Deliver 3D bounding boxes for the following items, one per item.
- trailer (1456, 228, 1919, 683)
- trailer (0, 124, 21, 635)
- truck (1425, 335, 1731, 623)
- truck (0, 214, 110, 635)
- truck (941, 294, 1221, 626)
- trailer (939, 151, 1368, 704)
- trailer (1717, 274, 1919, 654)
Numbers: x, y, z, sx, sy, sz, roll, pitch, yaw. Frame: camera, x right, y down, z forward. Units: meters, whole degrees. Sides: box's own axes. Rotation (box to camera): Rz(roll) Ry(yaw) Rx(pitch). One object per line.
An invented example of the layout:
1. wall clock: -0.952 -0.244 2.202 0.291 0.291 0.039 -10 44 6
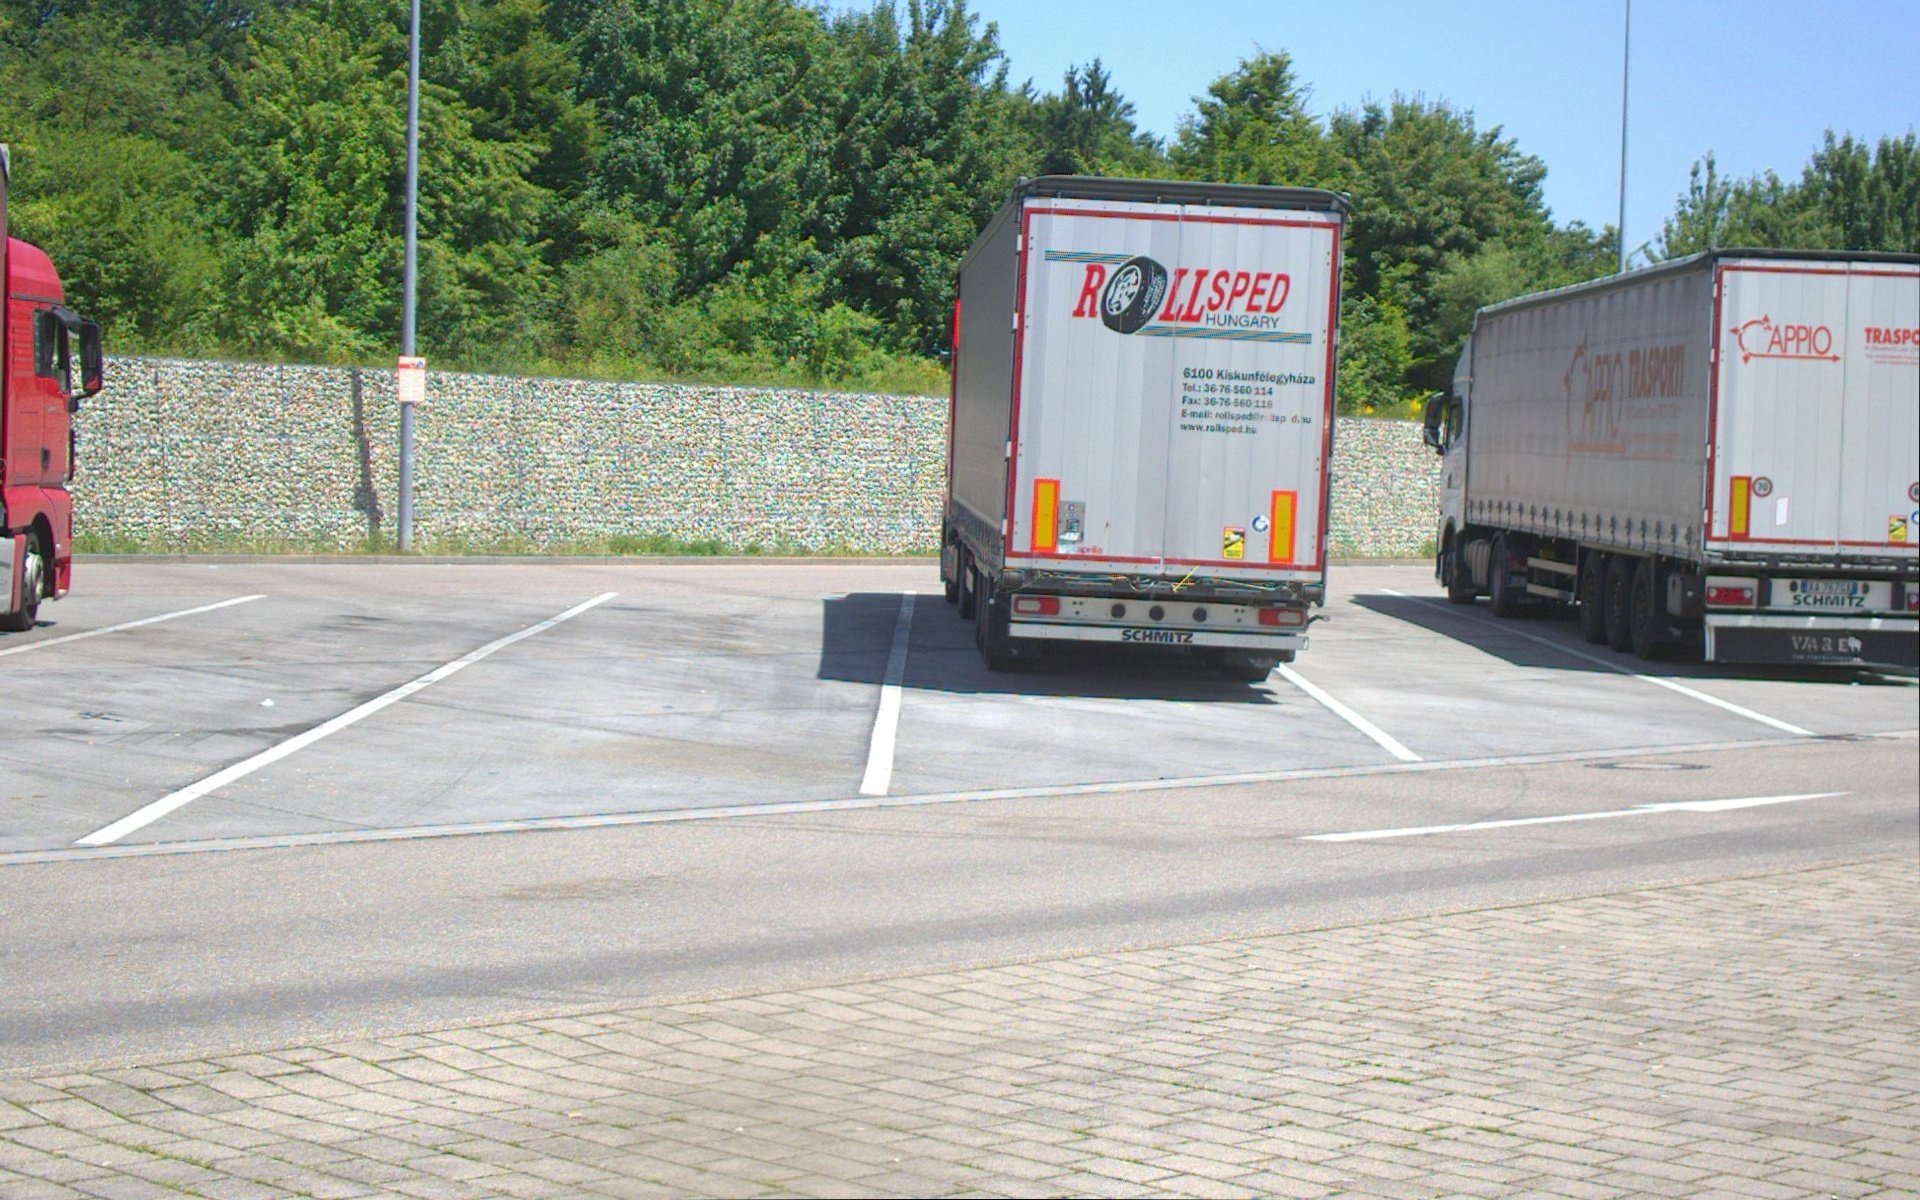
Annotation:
1. trailer: 8.154 -1.627 38.700 2.838 4.118 13.724 2 3 -1
2. trailer: -9.149 -1.490 21.314 2.906 4.118 13.725 2 3 -1
3. truck: 8.061 -1.625 45.513 2.852 3.472 5.483 2 2 -1
4. truck: -9.239 -1.506 28.753 2.852 3.416 5.483 2 2 -1
5. truck: 1.289 -1.629 39.823 2.852 3.472 5.483 2 2 -1
6. trailer: 1.437 -1.622 33.210 2.906 4.118 13.725 2 3 -1
7. trailer: 11.791 -1.530 39.452 2.838 4.118 13.724 2 3 -1
